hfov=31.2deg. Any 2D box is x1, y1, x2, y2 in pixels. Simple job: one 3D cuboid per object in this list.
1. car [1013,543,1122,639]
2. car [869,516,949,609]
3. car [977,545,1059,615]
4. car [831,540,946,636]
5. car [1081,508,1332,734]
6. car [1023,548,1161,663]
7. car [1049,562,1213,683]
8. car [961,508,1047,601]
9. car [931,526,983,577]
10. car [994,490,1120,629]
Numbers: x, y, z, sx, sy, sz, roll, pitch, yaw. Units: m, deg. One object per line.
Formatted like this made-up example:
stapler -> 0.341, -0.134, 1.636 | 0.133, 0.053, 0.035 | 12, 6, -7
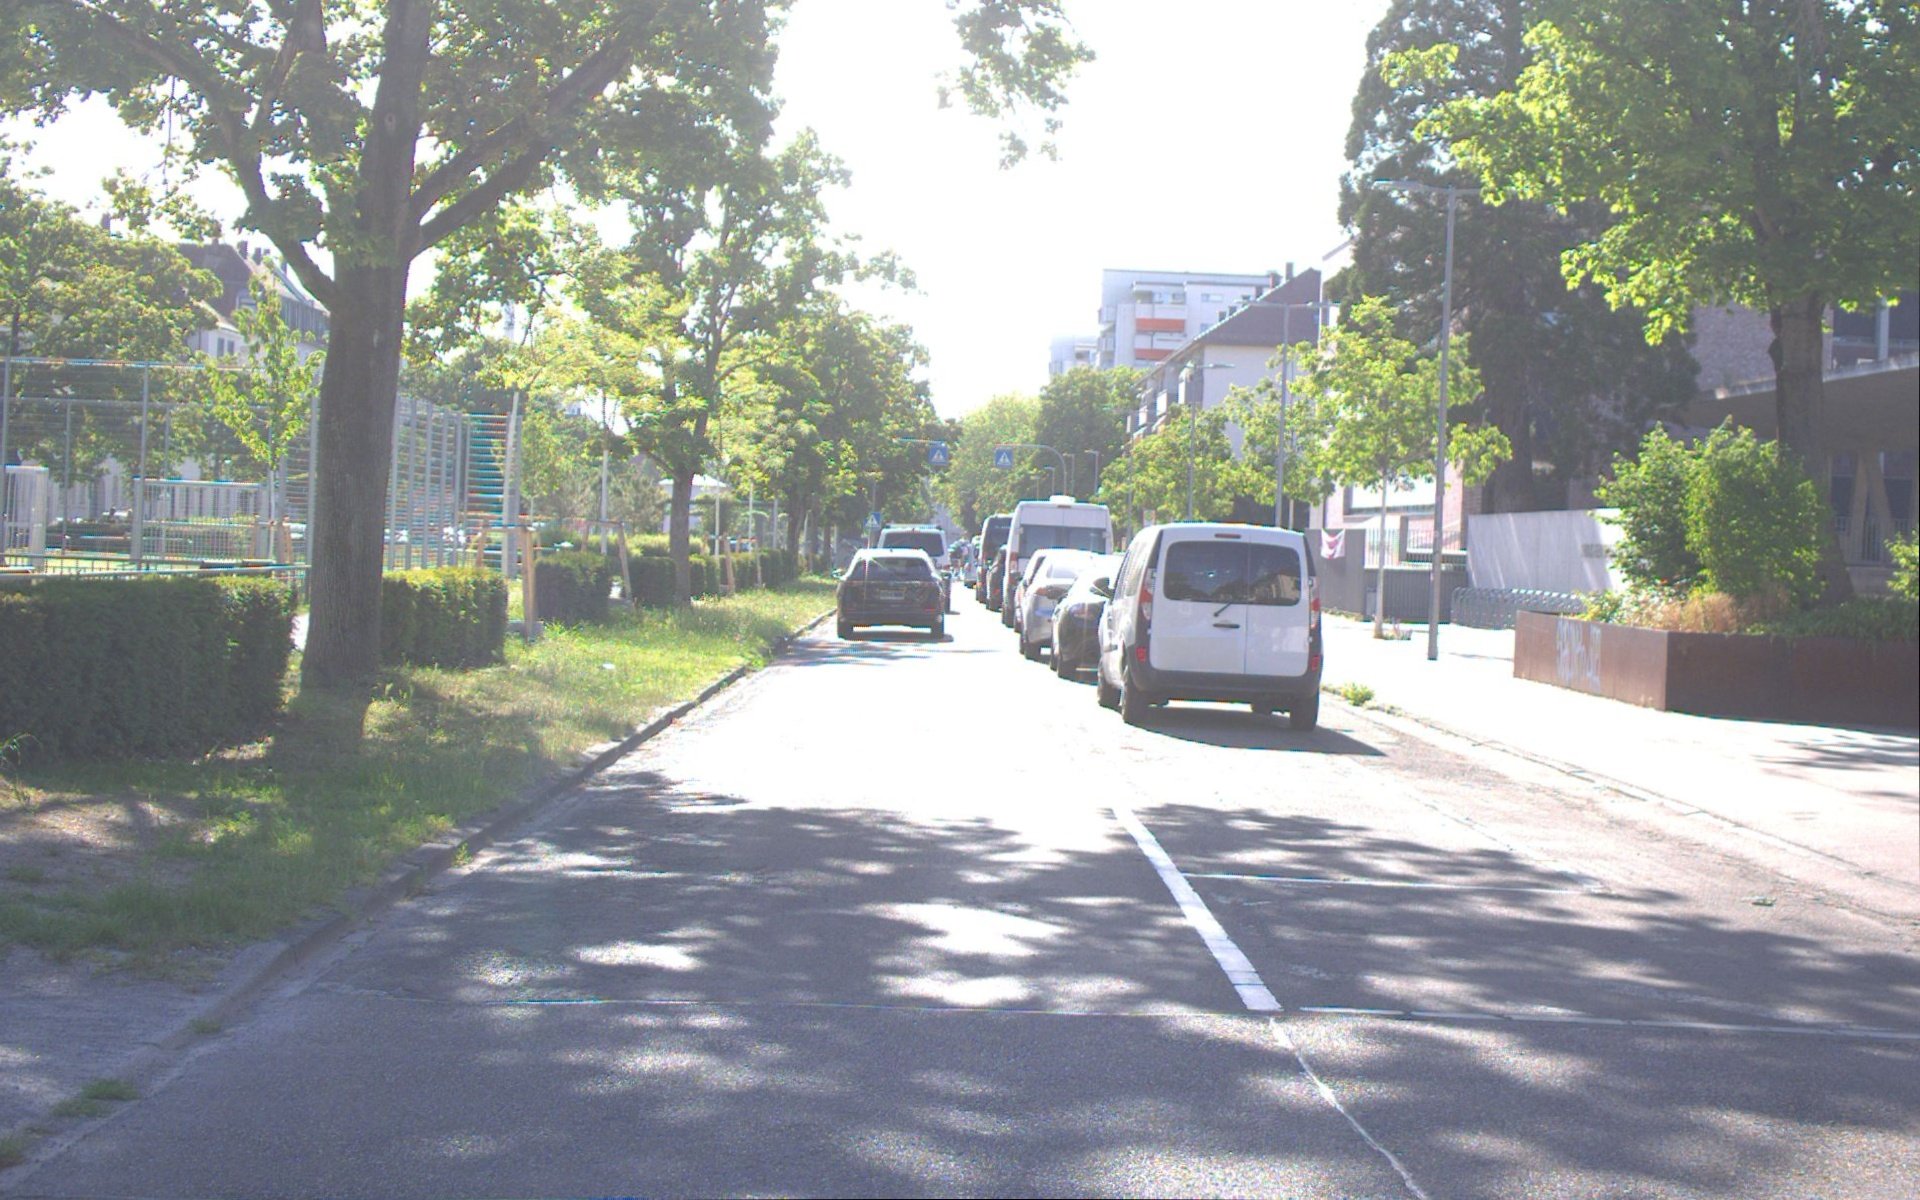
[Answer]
car -> 1.901, -0.181, 61.526 | 1.619, 1.583, 3.592 | 2, 1, -3
car -> -1.204, -0.924, 82.774 | 1.794, 2.115, 4.000 | 2, 1, 0
car -> 1.433, -0.526, 86.618 | 1.846, 1.634, 4.504 | 2, 1, -1
car -> -1.177, -0.235, 58.179 | 1.794, 1.505, 4.000 | 2, 1, 0
car -> 2.240, 0.143, 32.416 | 1.808, 1.902, 4.462 | 3, 1, -2
car -> 1.831, 0.036, 48.663 | 1.701, 1.473, 4.174 | 3, 1, 0
car -> 2.066, 0.246, 42.478 | 1.701, 1.321, 4.130 | 3, 1, -1
car -> 1.224, -1.310, 98.924 | 2.115, 2.507, 6.533 | 2, 1, -2
car -> -0.111, -1.872, 132.450 | 1.794, 1.848, 4.413 | 2, 1, 2
car -> 1.904, -0.824, 68.987 | 2.241, 2.565, 5.432 | 3, 1, 0
